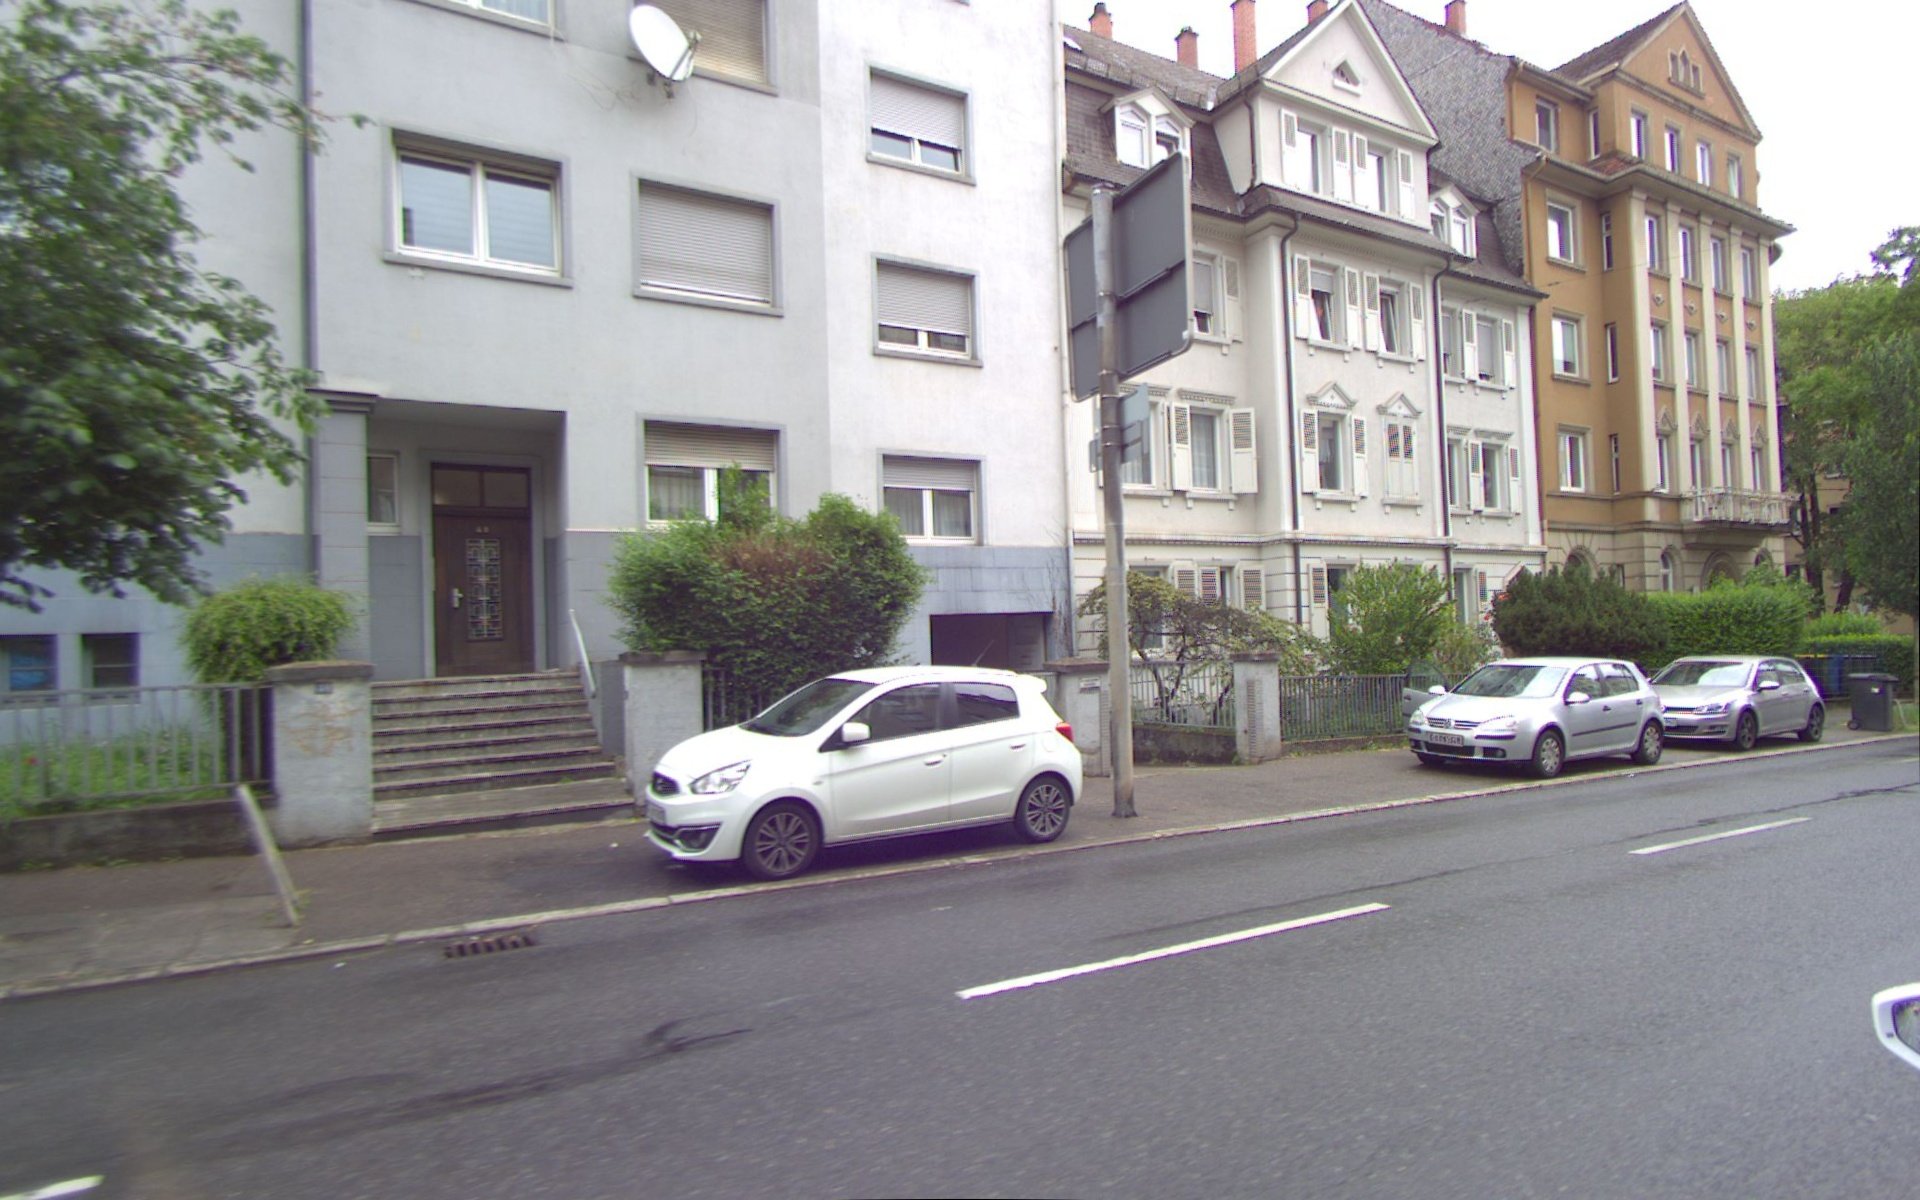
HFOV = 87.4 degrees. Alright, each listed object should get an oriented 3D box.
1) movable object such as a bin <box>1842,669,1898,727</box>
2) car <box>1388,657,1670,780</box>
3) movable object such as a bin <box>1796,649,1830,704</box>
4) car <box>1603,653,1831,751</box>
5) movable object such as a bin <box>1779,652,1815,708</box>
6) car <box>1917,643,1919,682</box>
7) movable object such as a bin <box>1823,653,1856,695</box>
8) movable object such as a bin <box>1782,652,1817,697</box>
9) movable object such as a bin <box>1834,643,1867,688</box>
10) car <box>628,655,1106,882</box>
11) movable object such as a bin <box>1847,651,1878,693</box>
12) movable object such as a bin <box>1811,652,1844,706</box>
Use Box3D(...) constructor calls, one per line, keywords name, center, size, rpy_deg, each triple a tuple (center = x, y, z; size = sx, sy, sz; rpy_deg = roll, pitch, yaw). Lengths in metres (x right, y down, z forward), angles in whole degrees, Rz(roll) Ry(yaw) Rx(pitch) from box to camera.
Box3D(name="movable object such as a bin", center=(17.354, 1.859, 19.162), size=(0.593, 1.072, 0.627), rpy_deg=(2, -4, -30))
Box3D(name="car", center=(7.856, 1.527, 13.805), size=(3.863, 1.408, 1.675), rpy_deg=(1, -2, -30))
Box3D(name="movable object such as a bin", center=(21.128, 1.881, 24.880), size=(0.642, 1.326, 0.437), rpy_deg=(1, -3, -31))
Box3D(name="car", center=(12.634, 1.614, 16.732), size=(3.889, 1.408, 1.675), rpy_deg=(1, -2, -30))
Box3D(name="movable object such as a bin", center=(20.238, 1.920, 24.289), size=(0.642, 1.316, 0.437), rpy_deg=(1, -3, -31))
Box3D(name="car", center=(36.210, 2.172, 34.999), size=(1.720, 1.408, 3.802), rpy_deg=(-1, -2, -28))
Box3D(name="movable object such as a bin", center=(22.492, 1.895, 25.693), size=(0.643, 1.054, 0.424), rpy_deg=(1, -3, -31))
Box3D(name="movable object such as a bin", center=(20.462, 1.810, 24.474), size=(0.642, 1.053, 0.437), rpy_deg=(1, -3, -31))
Box3D(name="movable object such as a bin", center=(23.086, 1.696, 26.046), size=(0.650, 1.145, 0.437), rpy_deg=(1, -3, -31))
Box3D(name="car", center=(-0.714, 1.258, 8.604), size=(3.755, 1.527, 1.637), rpy_deg=(2, -3, -32))
Box3D(name="movable object such as a bin", center=(23.661, 1.886, 26.339), size=(0.583, 1.095, 0.437), rpy_deg=(1, -3, -31))
Box3D(name="movable object such as a bin", center=(21.864, 1.987, 25.323), size=(0.602, 1.326, 0.437), rpy_deg=(1, -3, -31))
